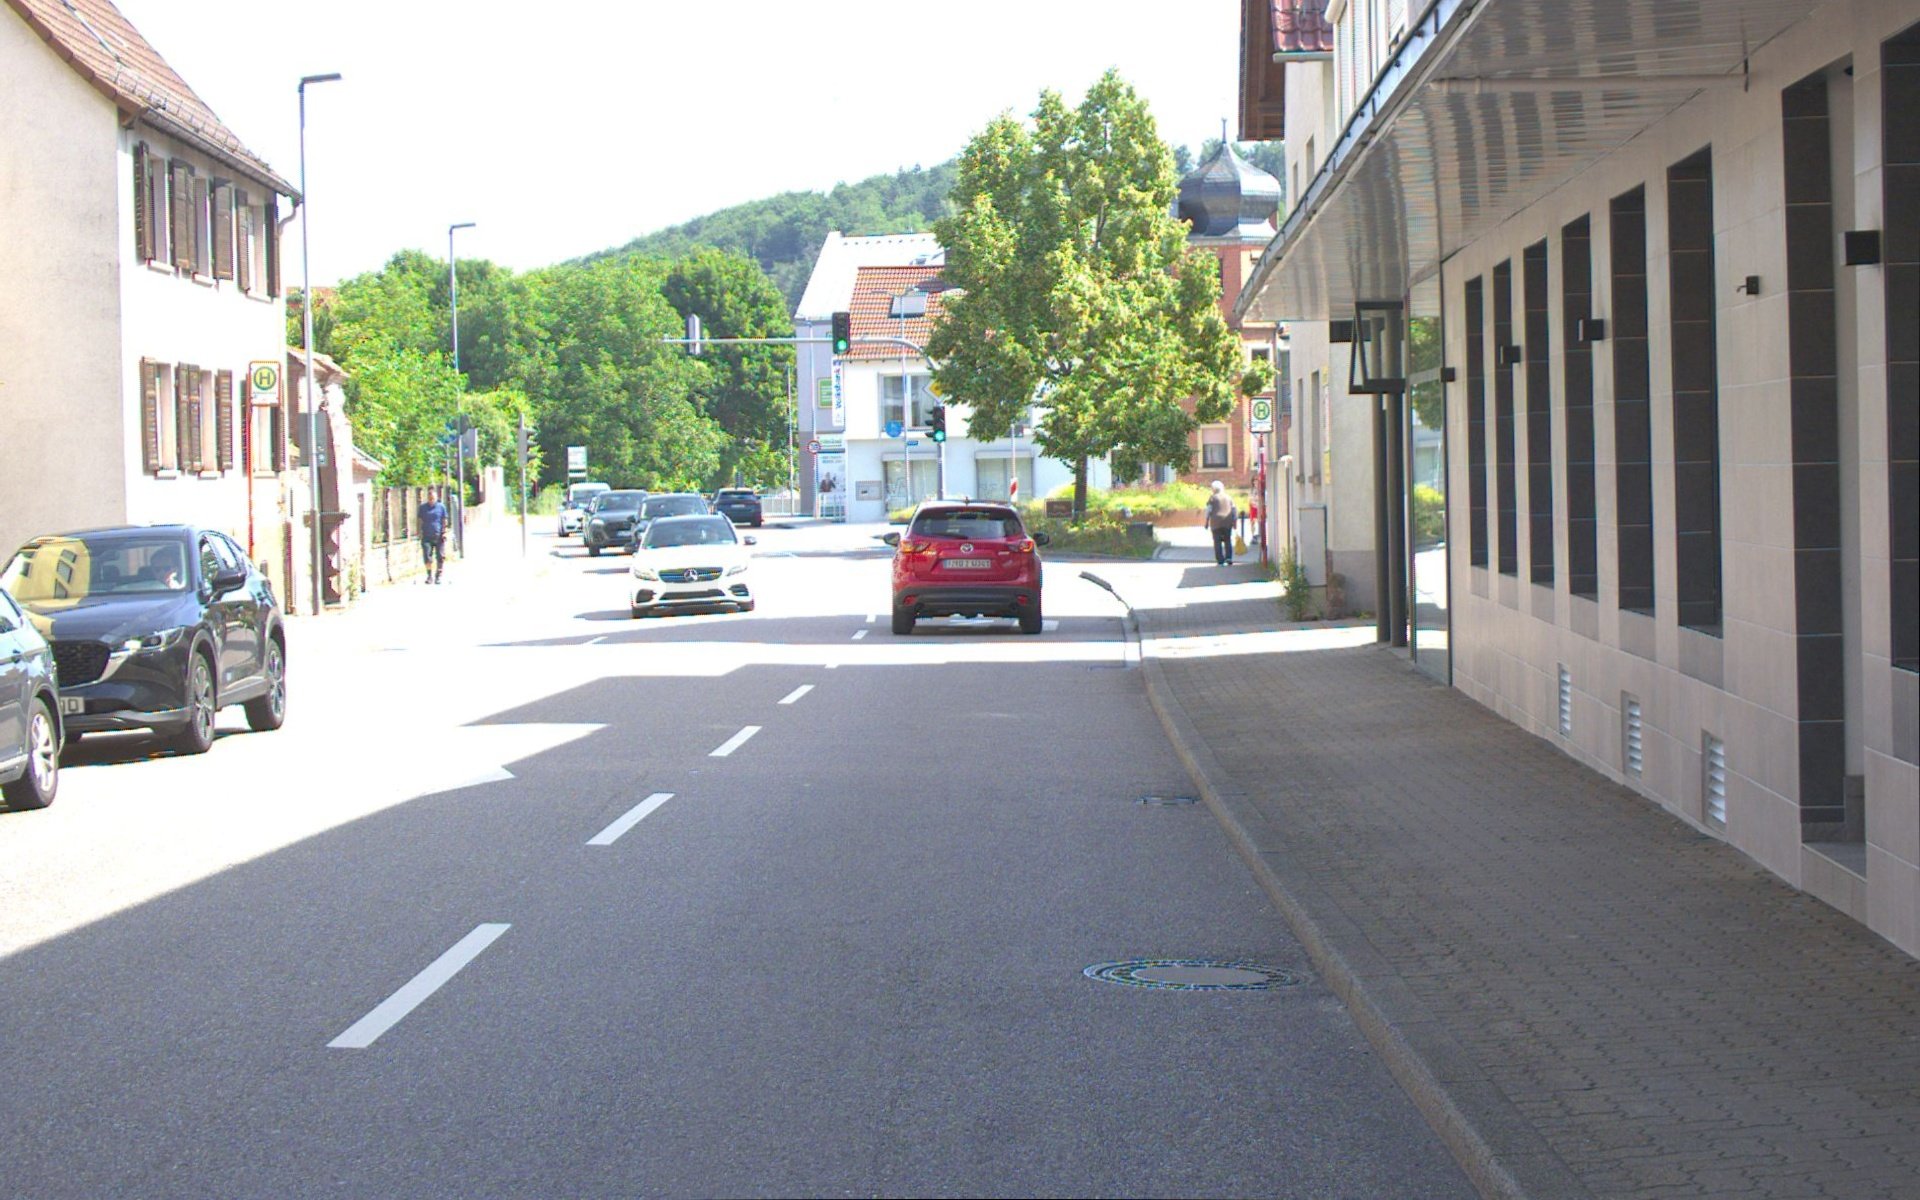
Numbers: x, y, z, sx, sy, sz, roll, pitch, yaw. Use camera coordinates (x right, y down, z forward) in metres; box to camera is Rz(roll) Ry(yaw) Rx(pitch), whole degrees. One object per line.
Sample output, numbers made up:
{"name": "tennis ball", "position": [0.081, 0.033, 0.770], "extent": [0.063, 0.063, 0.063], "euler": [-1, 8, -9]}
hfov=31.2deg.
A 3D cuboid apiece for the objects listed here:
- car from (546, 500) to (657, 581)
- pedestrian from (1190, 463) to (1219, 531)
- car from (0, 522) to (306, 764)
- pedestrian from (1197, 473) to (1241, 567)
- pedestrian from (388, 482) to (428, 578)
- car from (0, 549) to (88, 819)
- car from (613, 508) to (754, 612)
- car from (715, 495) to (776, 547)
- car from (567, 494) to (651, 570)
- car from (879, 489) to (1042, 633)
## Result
{"name": "car", "position": [-7.700, -1.308, 74.123], "extent": [1.839, 1.527, 4.253], "euler": [-2, 3, 1]}
{"name": "pedestrian", "position": [6.904, -2.914, 96.971], "extent": [0.642, 1.872, 0.652], "euler": [-2, -1, -5]}
{"name": "car", "position": [-6.262, 0.261, 25.577], "extent": [1.867, 1.584, 4.518], "euler": [-3, 1, 0]}
{"name": "pedestrian", "position": [4.828, -1.486, 64.164], "extent": [0.642, 1.701, 0.700], "euler": [-2, -1, -5]}
{"name": "pedestrian", "position": [-10.806, -1.367, 67.344], "extent": [0.665, 1.818, 0.799], "euler": [-2, -1, -5]}
{"name": "car", "position": [-6.098, 0.507, 18.181], "extent": [1.789, 1.445, 4.424], "euler": [-3, 1, 0]}
{"name": "car", "position": [-4.233, -0.623, 52.170], "extent": [1.987, 1.439, 5.102], "euler": [-2, 1, -5]}
{"name": "car", "position": [-8.148, -2.990, 130.766], "extent": [1.932, 1.788, 3.956], "euler": [-2, -1, 1]}
{"name": "car", "position": [-9.062, -1.736, 88.983], "extent": [1.774, 1.778, 3.839], "euler": [-2, -1, -1]}
{"name": "car", "position": [0.057, -0.516, 43.125], "extent": [1.859, 1.709, 4.422], "euler": [0, 1, 2]}
